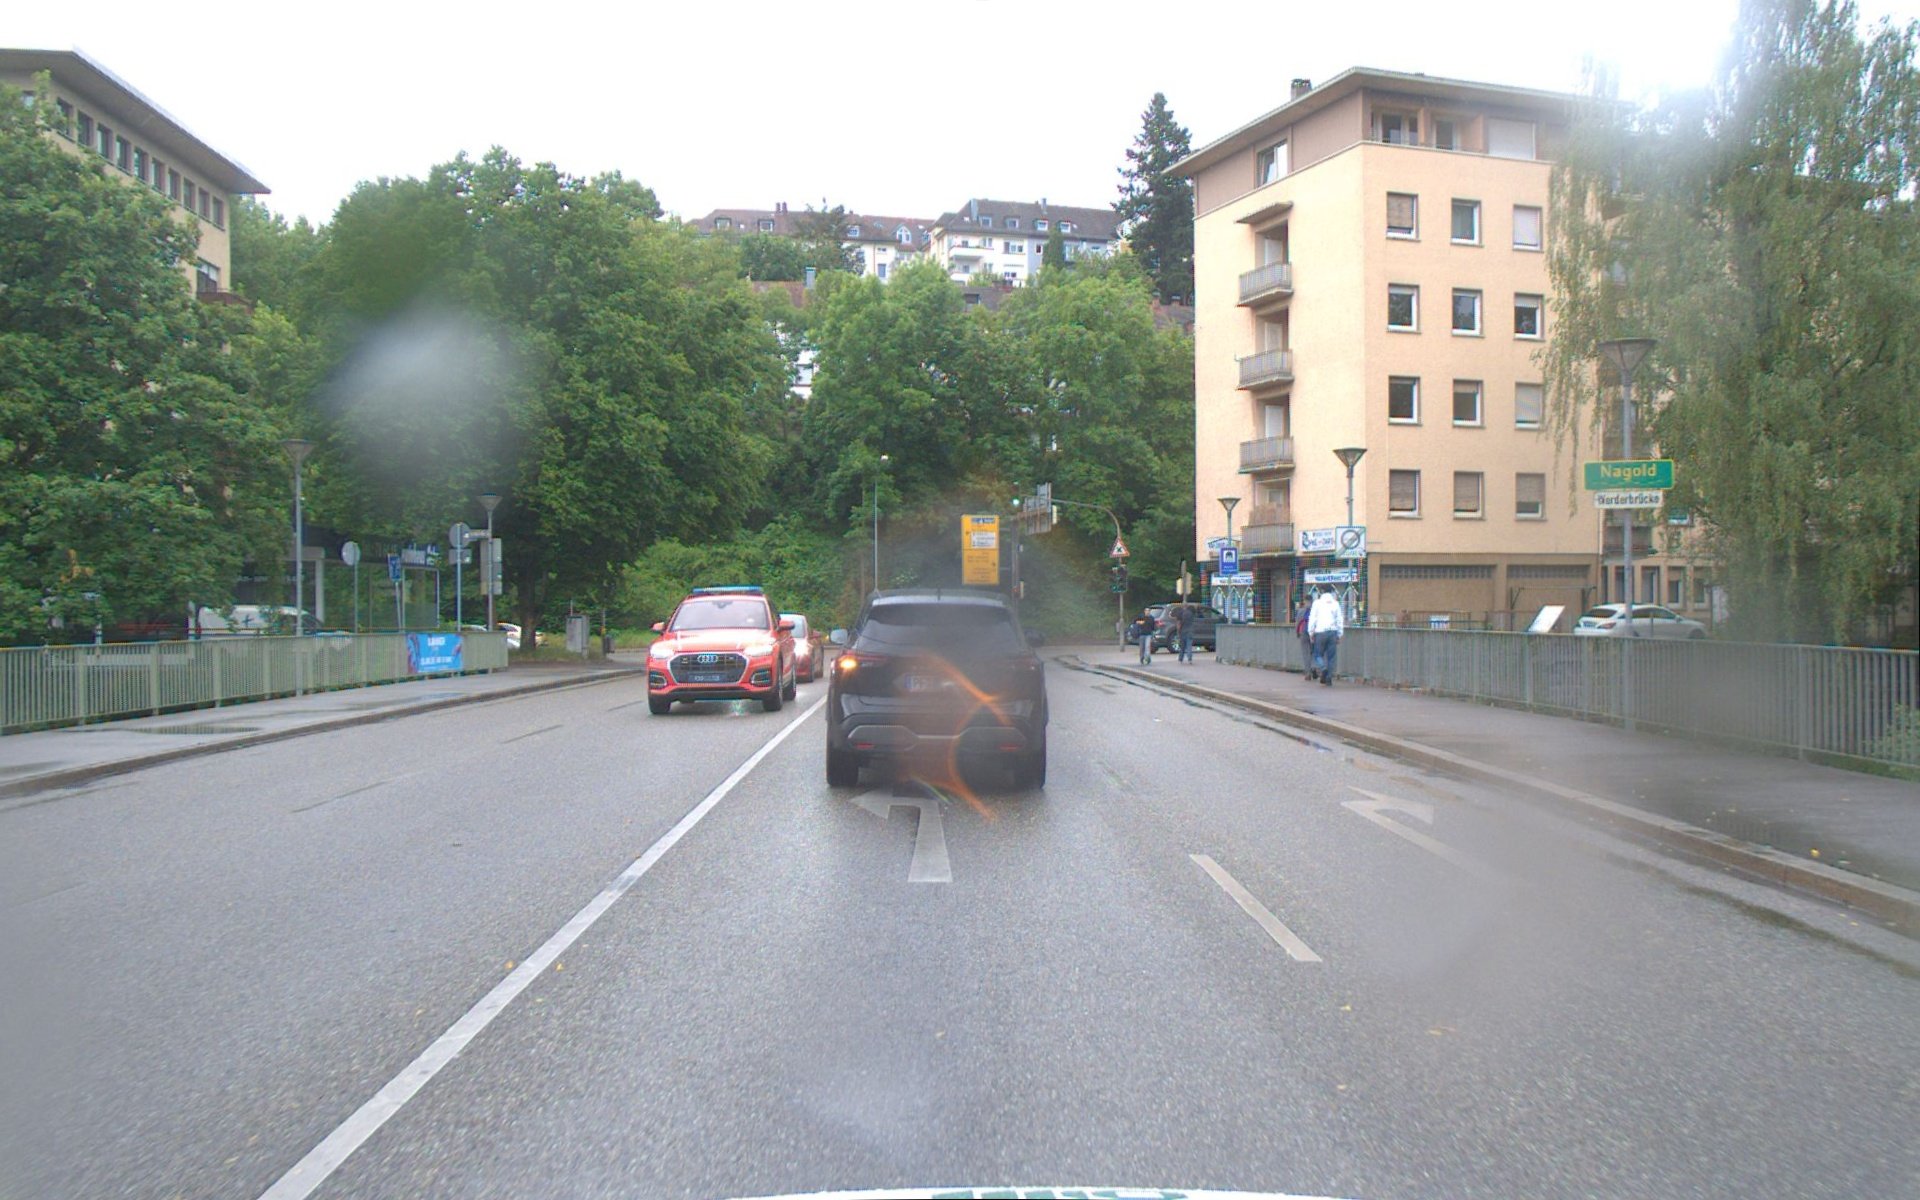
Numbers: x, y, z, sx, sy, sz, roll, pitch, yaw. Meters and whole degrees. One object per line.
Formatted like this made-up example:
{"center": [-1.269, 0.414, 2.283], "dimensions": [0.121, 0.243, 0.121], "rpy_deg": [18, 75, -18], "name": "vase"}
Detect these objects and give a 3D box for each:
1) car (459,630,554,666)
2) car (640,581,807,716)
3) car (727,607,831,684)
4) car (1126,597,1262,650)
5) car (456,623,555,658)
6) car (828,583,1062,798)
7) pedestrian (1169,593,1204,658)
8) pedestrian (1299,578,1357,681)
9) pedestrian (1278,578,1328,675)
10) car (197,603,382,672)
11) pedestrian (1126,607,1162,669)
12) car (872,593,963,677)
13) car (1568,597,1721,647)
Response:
{"center": [-19.063, 2.003, 69.567], "dimensions": [3.603, 1.444, 1.629], "rpy_deg": [-1, -1, -6], "name": "car"}
{"center": [-3.384, 0.650, 24.466], "dimensions": [1.850, 1.765, 4.370], "rpy_deg": [-2, 0, -1], "name": "car"}
{"center": [-3.745, 0.907, 34.801], "dimensions": [1.745, 1.427, 4.218], "rpy_deg": [-2, 0, -1], "name": "car"}
{"center": [8.046, 0.808, 56.863], "dimensions": [4.315, 1.678, 1.867], "rpy_deg": [-2, -1, -27], "name": "car"}
{"center": [-20.662, 1.828, 75.289], "dimensions": [3.998, 1.441, 1.714], "rpy_deg": [-2, 0, -2], "name": "car"}
{"center": [-0.153, 0.678, 14.646], "dimensions": [1.774, 1.631, 3.999], "rpy_deg": [1, 0, -1], "name": "car"}
{"center": [6.085, 0.677, 44.435], "dimensions": [0.745, 1.706, 0.781], "rpy_deg": [-2, 0, -1], "name": "pedestrian"}
{"center": [6.554, 0.521, 29.506], "dimensions": [0.764, 1.783, 1.060], "rpy_deg": [-1, -1, -2], "name": "pedestrian"}
{"center": [6.628, 0.507, 32.010], "dimensions": [0.745, 1.840, 0.781], "rpy_deg": [-1, 0, -1], "name": "pedestrian"}
{"center": [-19.549, 1.076, 48.425], "dimensions": [4.655, 1.886, 1.996], "rpy_deg": [0, 1, -10], "name": "car"}
{"center": [5.029, 1.025, 45.201], "dimensions": [0.845, 1.647, 0.839], "rpy_deg": [-2, -1, -1], "name": "pedestrian"}
{"center": [-0.875, 0.694, 34.658], "dimensions": [1.774, 1.631, 3.999], "rpy_deg": [1, 0, -1], "name": "car"}
{"center": [21.608, 0.663, 52.222], "dimensions": [4.370, 1.400, 1.808], "rpy_deg": [-1, 2, -18], "name": "car"}
